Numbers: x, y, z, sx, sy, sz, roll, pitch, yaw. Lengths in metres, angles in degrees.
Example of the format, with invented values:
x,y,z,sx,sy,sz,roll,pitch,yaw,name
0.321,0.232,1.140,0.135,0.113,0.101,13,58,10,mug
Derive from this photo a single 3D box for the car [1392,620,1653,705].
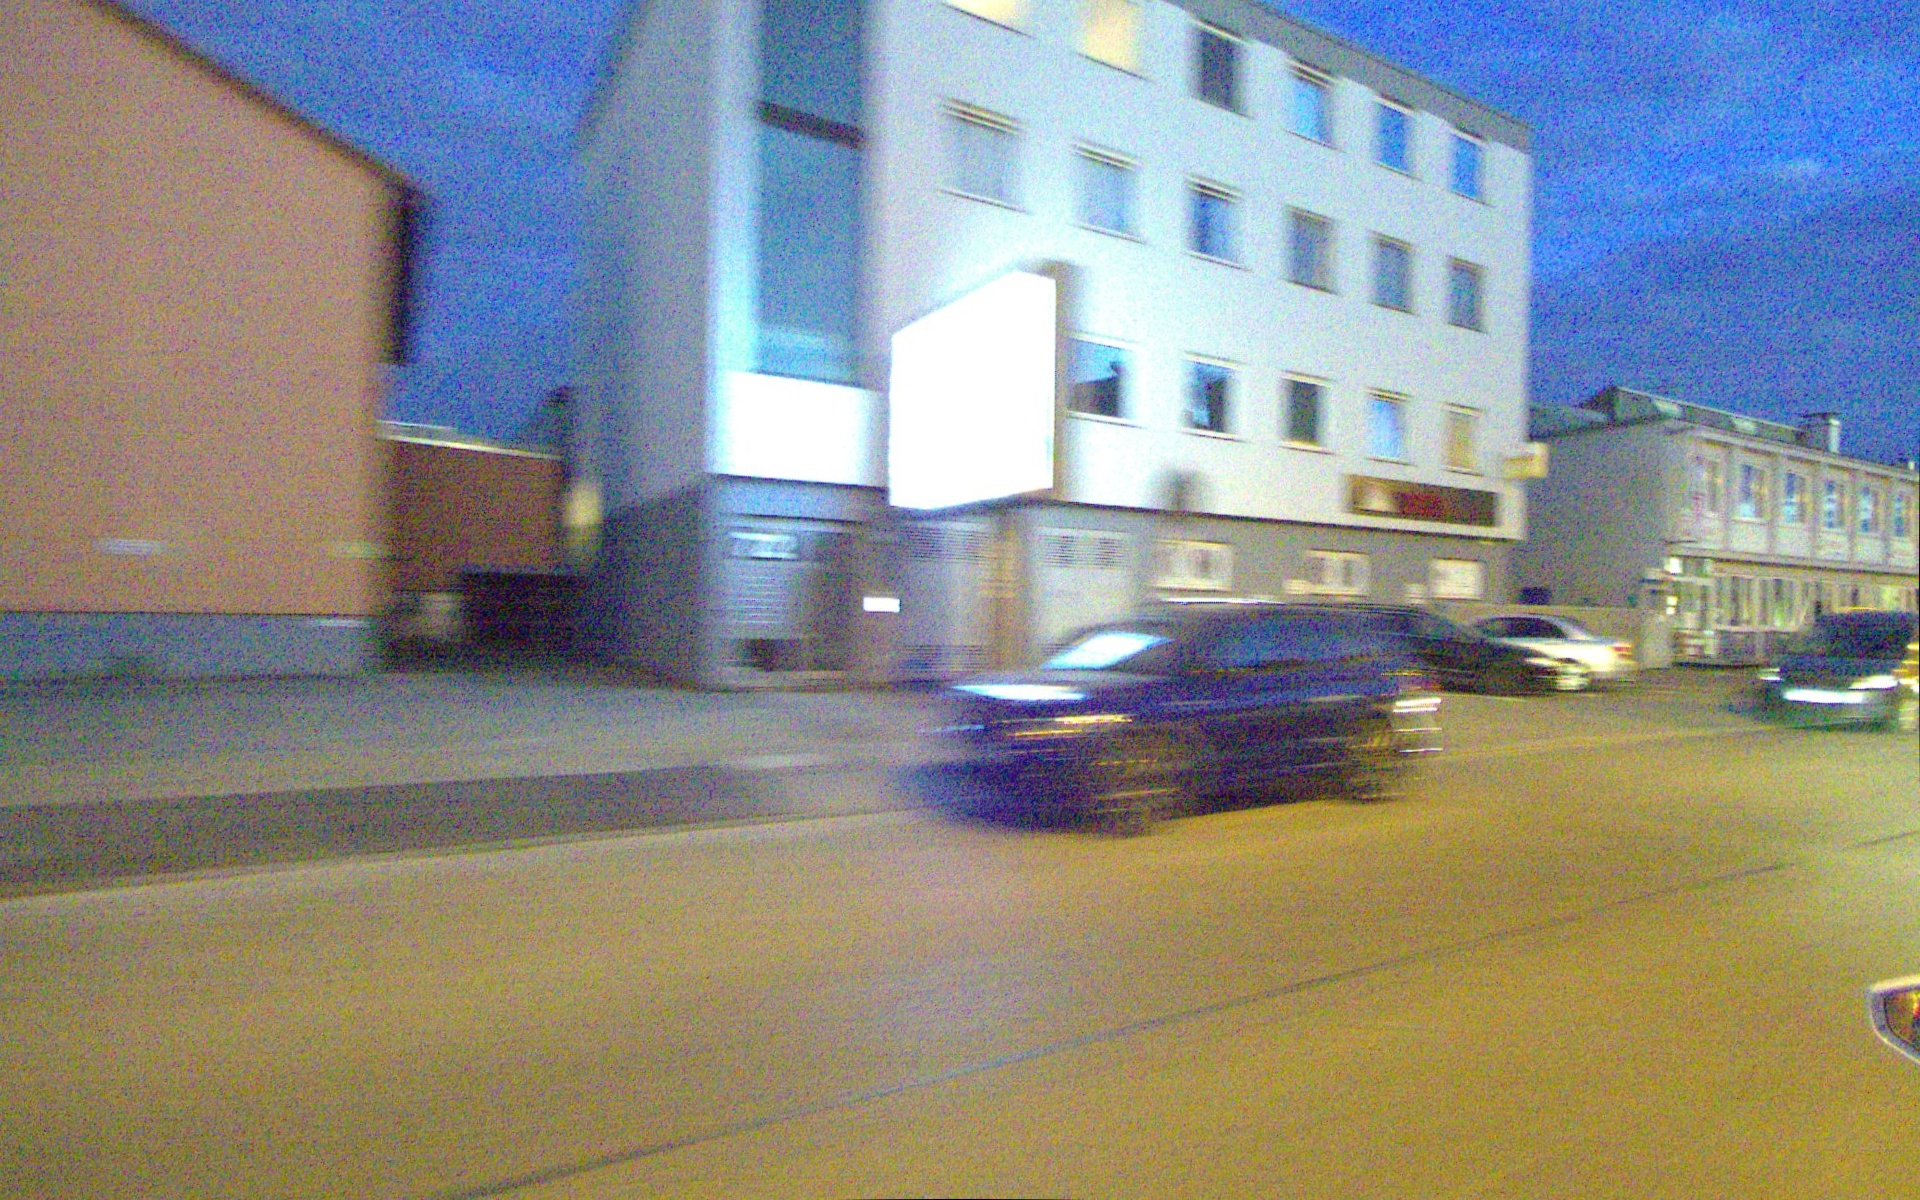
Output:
x,y,z,sx,sy,sz,roll,pitch,yaw,name
11.047,1.166,19.940,4.338,1.459,1.789,0,-1,32,car

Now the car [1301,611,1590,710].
x,y,z,sx,sy,sz,roll,pitch,yaw,name
8.893,1.034,18.523,4.591,1.571,1.995,0,-1,32,car

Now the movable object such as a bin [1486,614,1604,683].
x,y,z,sx,sy,sz,roll,pitch,yaw,name
13.827,1.117,23.789,1.590,1.520,1.849,2,-1,-29,movable object such as a bin

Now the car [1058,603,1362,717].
x,y,z,sx,sy,sz,roll,pitch,yaw,name
3.976,0.874,16.251,4.343,1.580,1.993,0,-1,37,car

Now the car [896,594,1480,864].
x,y,z,sx,sy,sz,roll,pitch,yaw,name
2.026,0.873,8.429,4.760,1.711,1.938,1,-1,-31,car

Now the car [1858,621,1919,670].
x,y,z,sx,sy,sz,roll,pitch,yaw,name
32.097,1.591,32.561,1.863,1.452,4.132,1,3,-11,car

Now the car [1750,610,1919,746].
x,y,z,sx,sy,sz,roll,pitch,yaw,name
14.524,1.151,15.874,4.364,1.873,1.804,2,-1,-31,car
